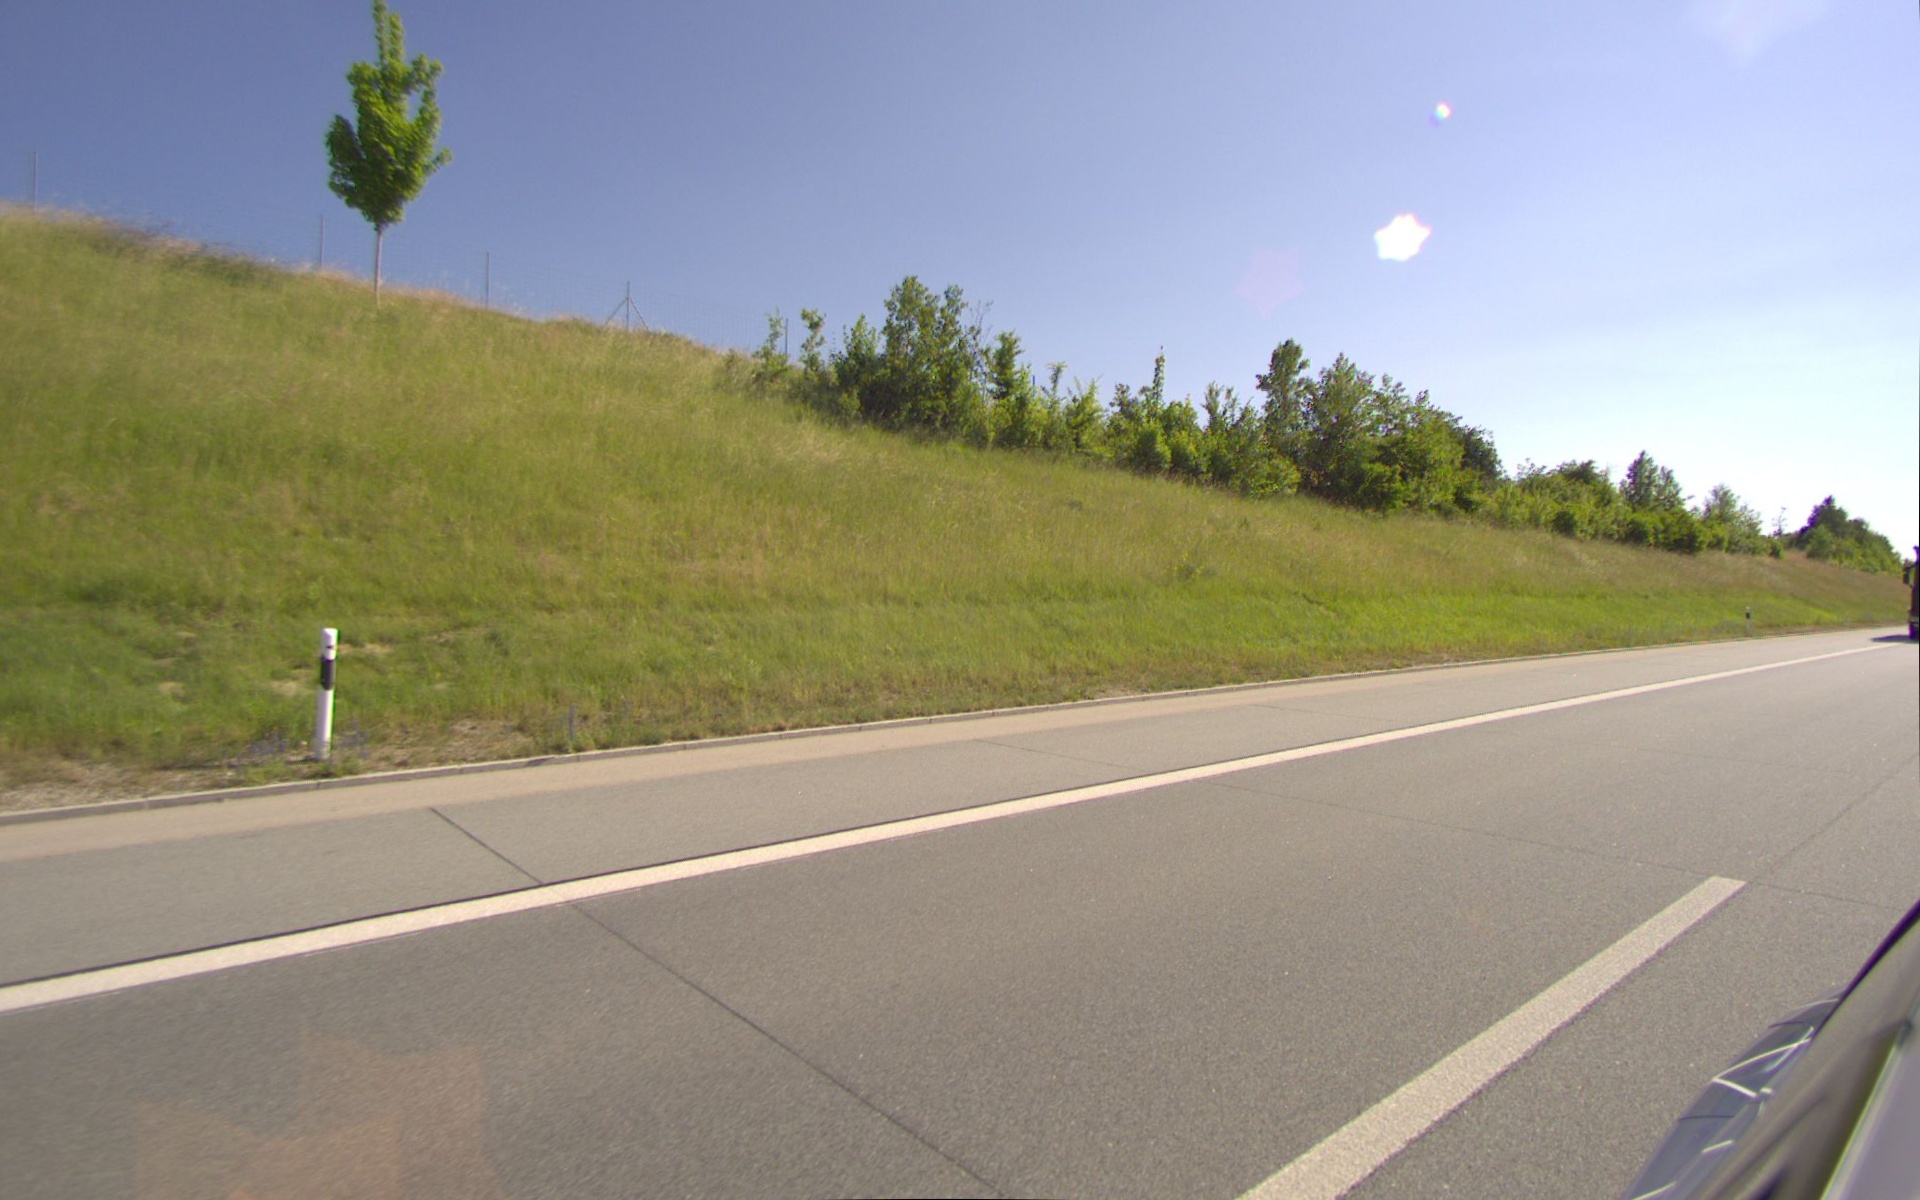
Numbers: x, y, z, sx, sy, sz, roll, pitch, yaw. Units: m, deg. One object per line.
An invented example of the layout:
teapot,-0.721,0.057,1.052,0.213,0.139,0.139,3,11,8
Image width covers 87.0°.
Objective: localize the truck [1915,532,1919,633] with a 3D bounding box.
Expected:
truck,42.611,-0.666,41.956,13.161,3.867,2.622,0,-1,-39
